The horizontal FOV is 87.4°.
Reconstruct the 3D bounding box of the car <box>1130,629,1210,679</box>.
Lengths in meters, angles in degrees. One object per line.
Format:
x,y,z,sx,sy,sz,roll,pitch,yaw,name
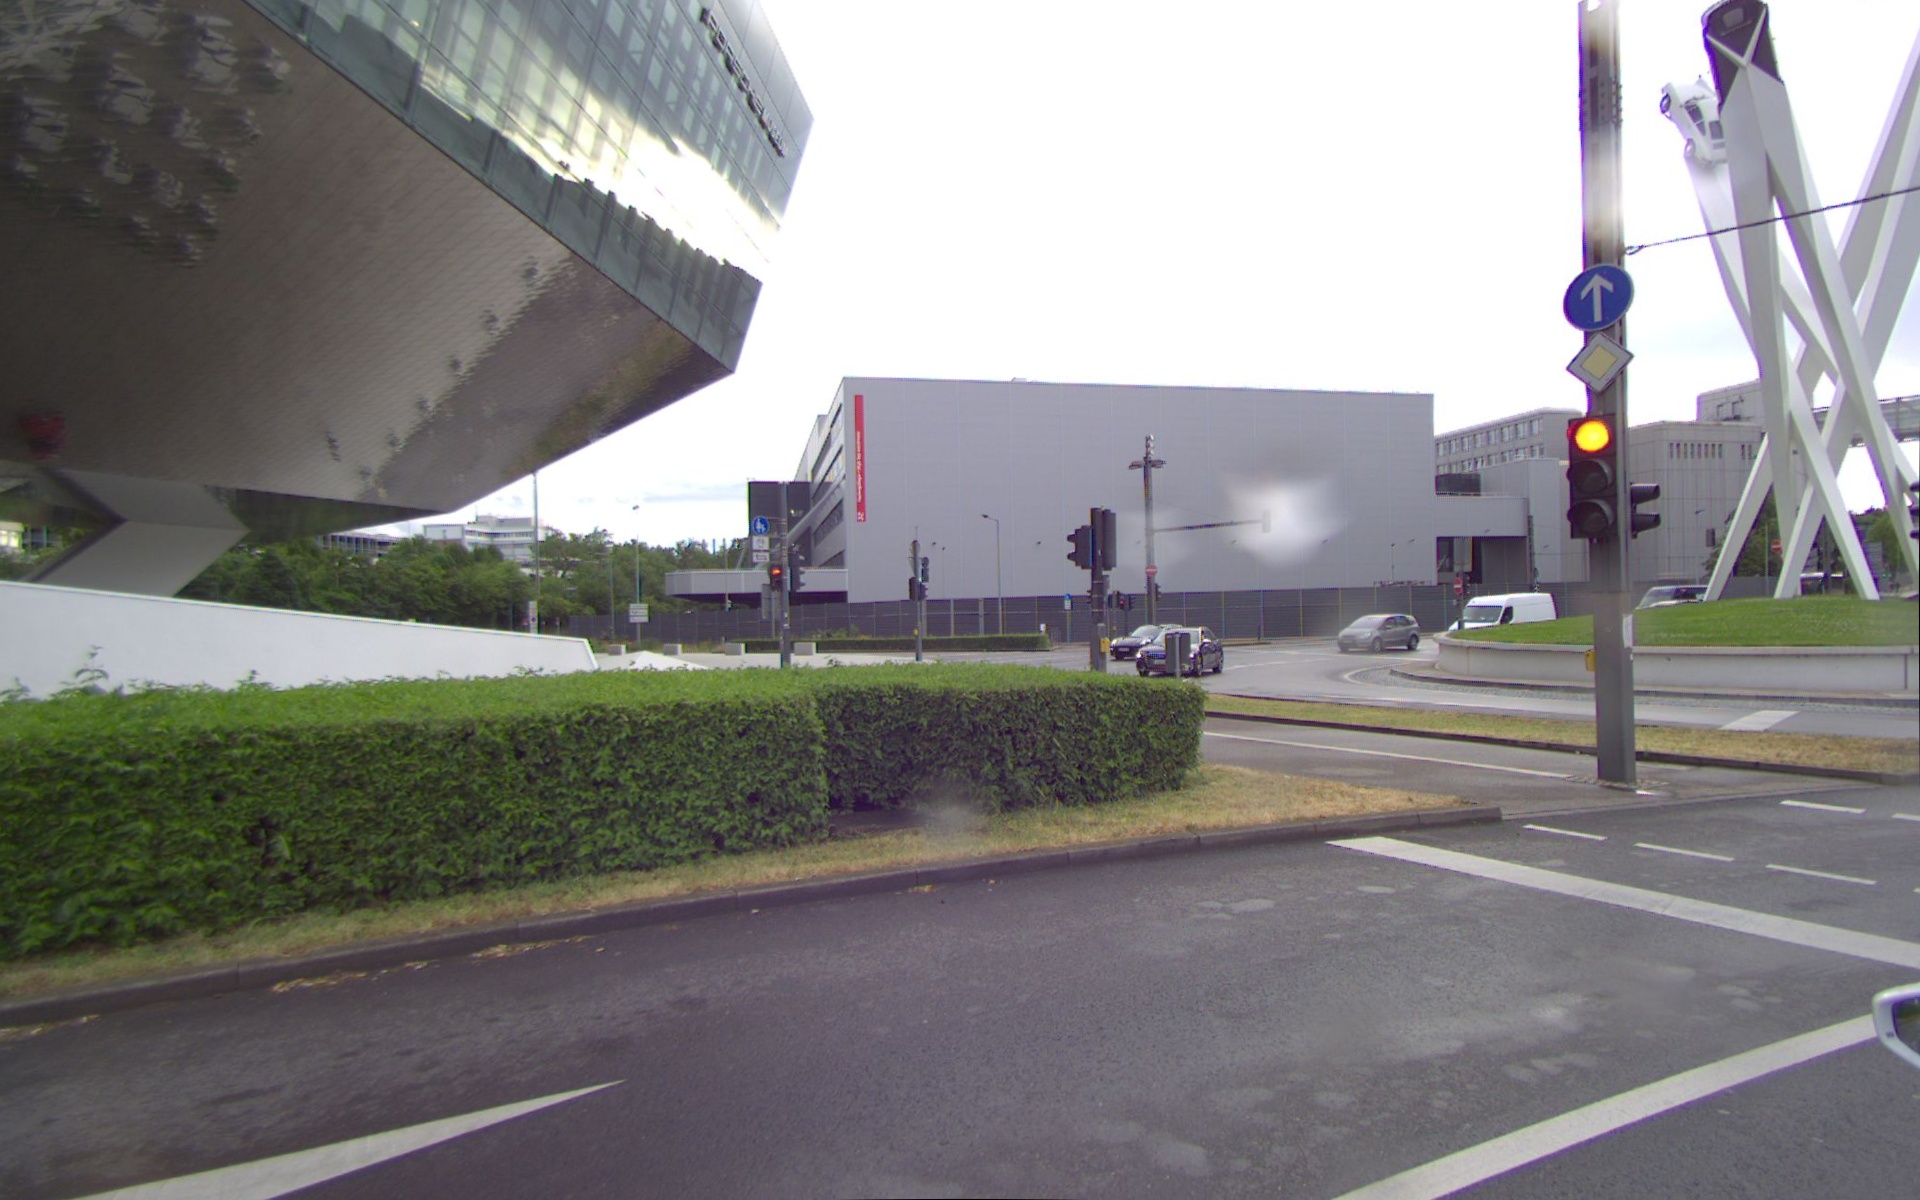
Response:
6.460,1.582,30.583,1.815,1.356,4.000,0,-1,21,car

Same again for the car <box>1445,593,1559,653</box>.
23.882,1.001,44.209,5.363,2.479,1.984,0,-1,-31,car

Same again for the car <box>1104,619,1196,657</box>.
8.100,1.570,42.577,1.813,1.491,4.489,-1,-1,42,car

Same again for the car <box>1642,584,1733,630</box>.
46.720,0.495,64.435,7.041,2.858,1.958,1,-1,-29,car

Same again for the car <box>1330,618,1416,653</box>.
18.922,1.595,45.966,3.960,1.514,1.821,1,-1,-35,car
